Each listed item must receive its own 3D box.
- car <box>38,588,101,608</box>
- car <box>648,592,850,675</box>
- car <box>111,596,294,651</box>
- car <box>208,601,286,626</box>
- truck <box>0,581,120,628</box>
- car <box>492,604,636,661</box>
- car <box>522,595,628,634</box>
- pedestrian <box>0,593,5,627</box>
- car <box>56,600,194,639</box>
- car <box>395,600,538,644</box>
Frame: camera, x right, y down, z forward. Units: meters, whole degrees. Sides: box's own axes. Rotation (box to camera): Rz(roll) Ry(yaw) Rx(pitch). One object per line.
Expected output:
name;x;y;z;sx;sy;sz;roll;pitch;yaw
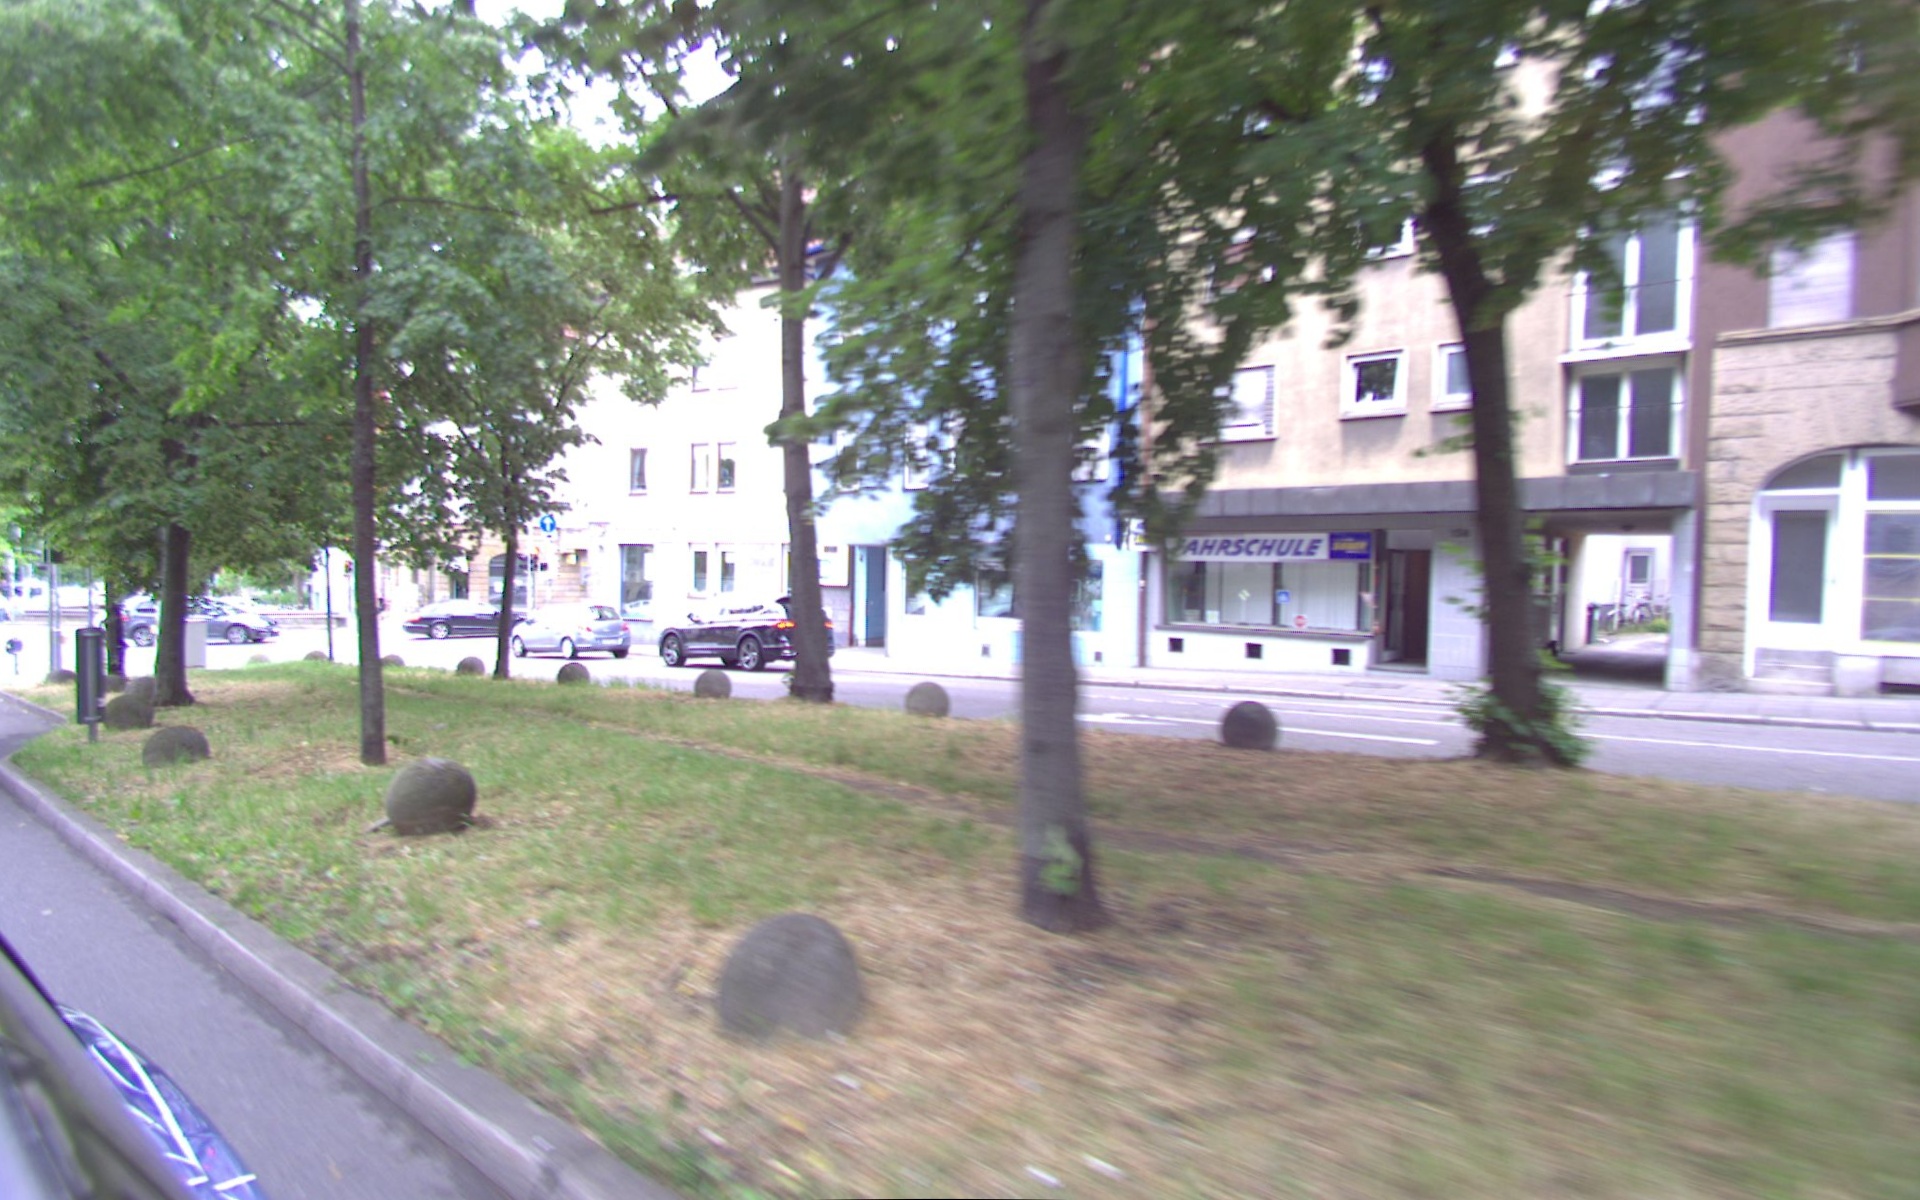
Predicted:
car;-80.751;-0.206;91.861;1.877;1.717;3.912;1;2;17
car;-4.715;0.668;22.200;4.675;1.649;1.798;0;-1;39
car;-26.023;0.776;34.942;4.649;1.626;1.864;-2;2;-15
car;-48.329;0.901;68.650;3.873;1.610;1.895;0;2;-4
truck;-56.736;0.304;63.260;2.739;2.744;6.443;-1;-1;6
car;-10.672;0.853;27.151;4.288;1.417;1.653;-1;-1;38
car;-16.739;0.601;44.070;3.990;1.484;1.655;-2;3;-40
pedestrian;-45.493;0.497;47.424;0.793;1.595;0.705;0;2;6
car;-32.821;0.734;39.857;3.904;1.441;1.798;0;2;-3
car;-18.750;0.796;38.573;4.660;1.430;1.847;-1;2;-35
